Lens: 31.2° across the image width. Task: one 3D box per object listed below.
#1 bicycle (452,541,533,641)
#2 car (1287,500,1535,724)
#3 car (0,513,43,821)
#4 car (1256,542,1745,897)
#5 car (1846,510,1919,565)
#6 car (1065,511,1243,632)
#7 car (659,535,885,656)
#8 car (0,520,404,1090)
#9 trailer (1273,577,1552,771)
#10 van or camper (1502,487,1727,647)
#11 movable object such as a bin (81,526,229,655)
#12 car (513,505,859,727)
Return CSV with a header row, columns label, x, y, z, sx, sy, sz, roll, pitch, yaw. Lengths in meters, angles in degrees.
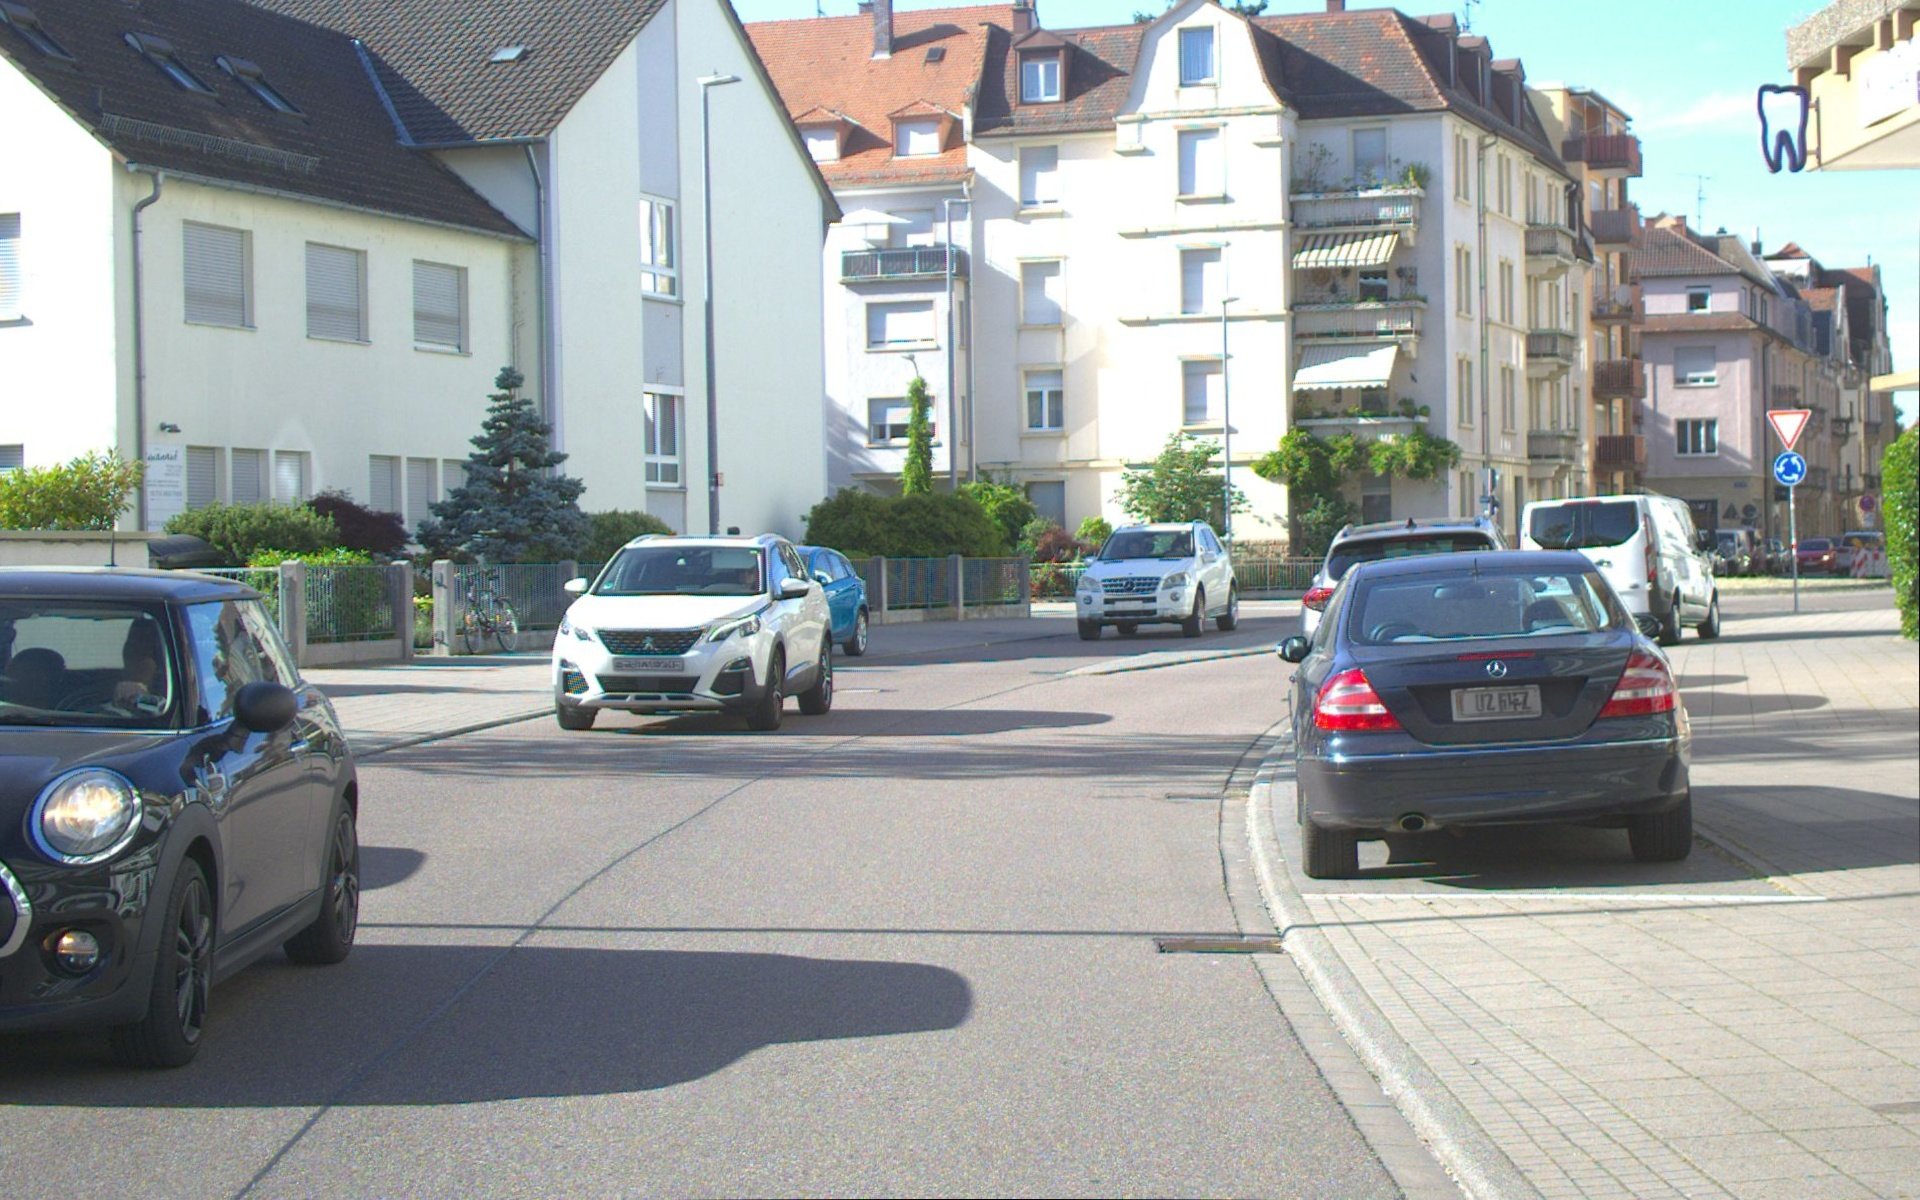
label,x,y,z,sx,sy,sz,roll,pitch,yaw
bicycle,-6.098,-0.106,44.933,0.456,1.246,1.927,-1,-2,11
car,3.732,0.149,28.004,1.818,1.648,4.558,-1,-2,9
car,-5.714,0.374,15.455,1.993,1.529,4.919,-1,1,-2
car,2.504,0.487,16.614,1.971,1.445,5.002,-1,0,7
car,31.934,-2.159,118.001,2.434,1.805,4.718,-1,1,21
car,3.095,-0.471,53.941,1.991,1.779,4.517,-1,1,13
car,-2.384,-0.094,44.659,1.798,1.468,4.328,1,1,13
car,-2.978,0.604,10.993,1.740,1.507,3.729,0,-2,1
trailer,3.023,0.450,22.576,1.603,1.174,2.941,-1,0,11
van or camper,8.823,-0.467,46.025,2.022,1.940,4.698,-3,0,22
movable object such as a bin,-9.608,-0.096,41.064,1.283,1.485,1.226,-1,-2,16
car,-2.231,0.184,29.181,1.920,1.719,4.334,-1,-2,9
